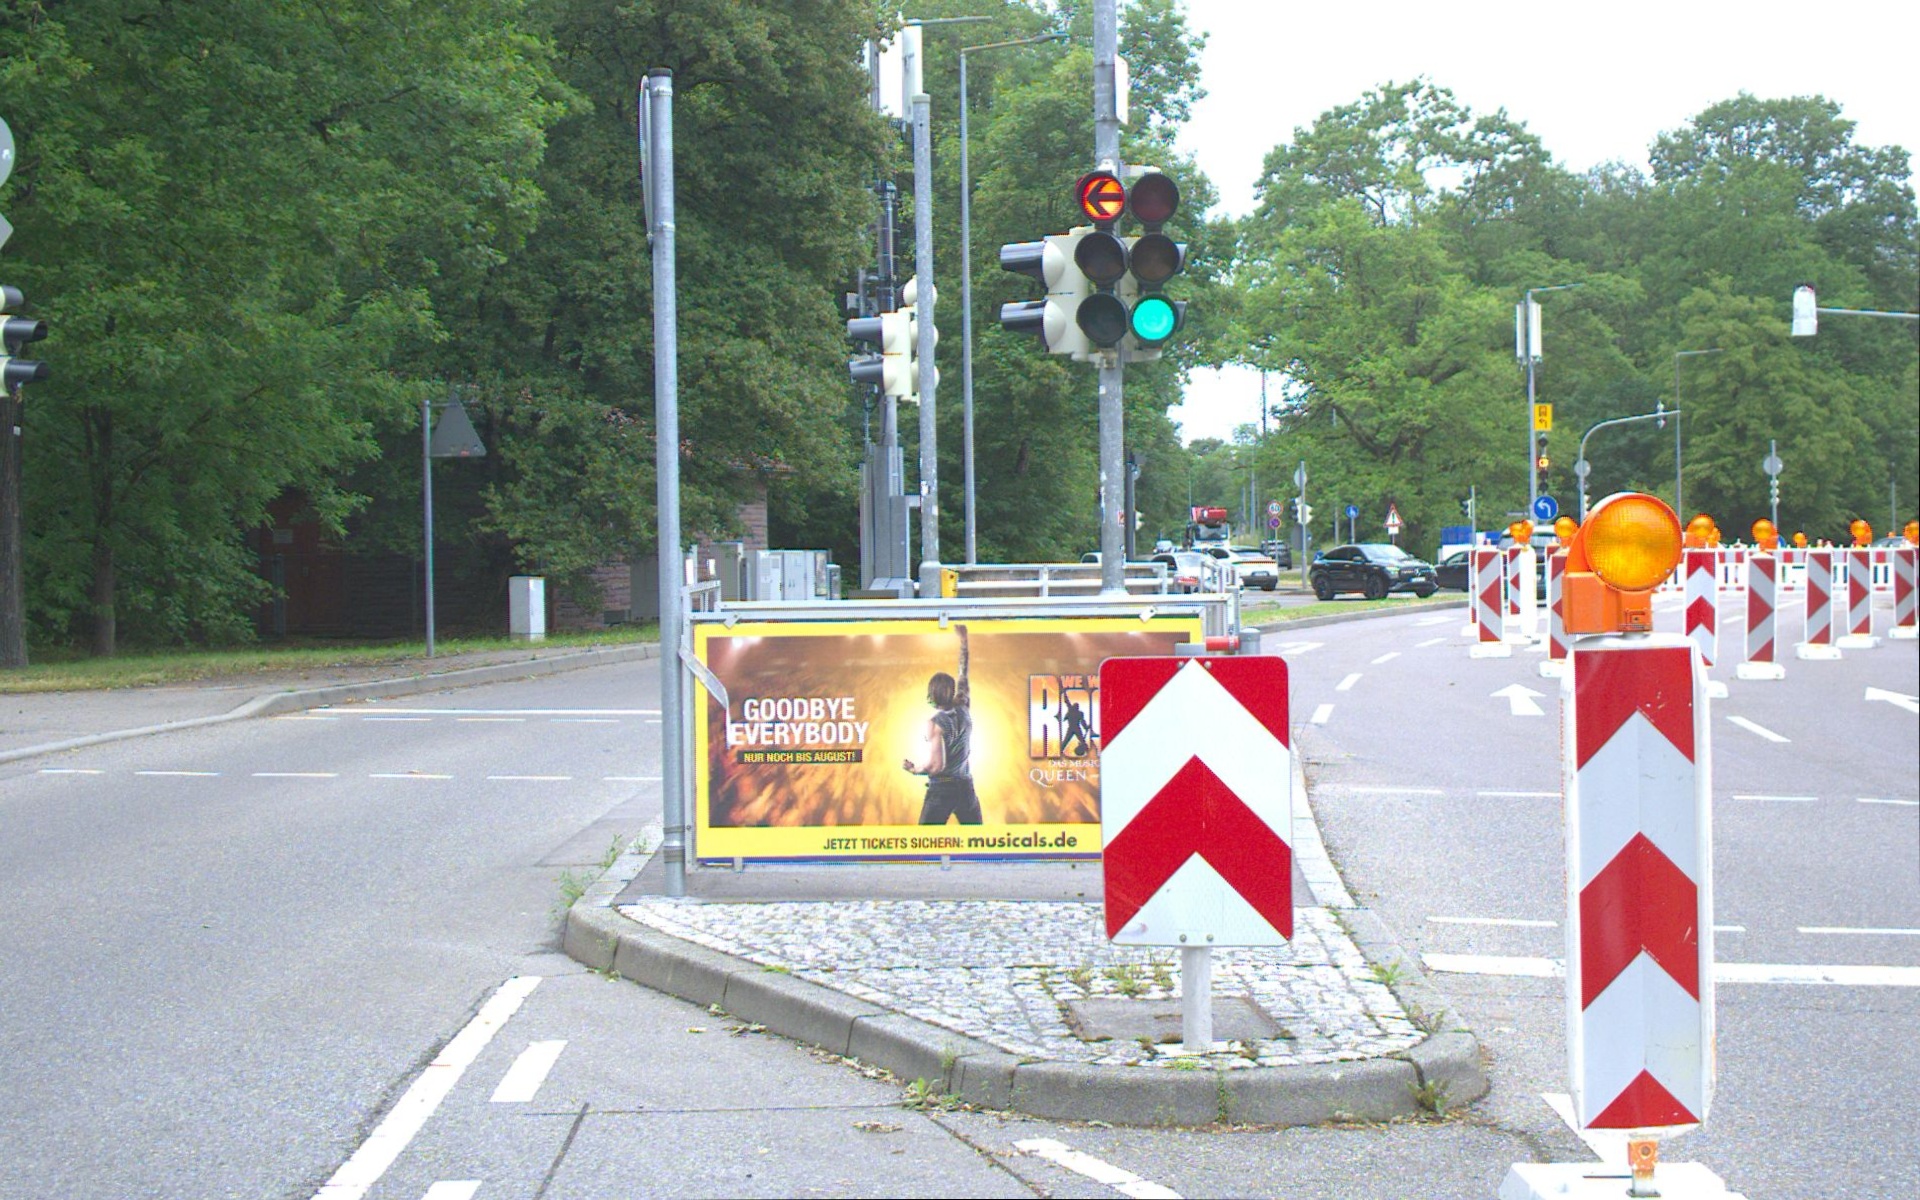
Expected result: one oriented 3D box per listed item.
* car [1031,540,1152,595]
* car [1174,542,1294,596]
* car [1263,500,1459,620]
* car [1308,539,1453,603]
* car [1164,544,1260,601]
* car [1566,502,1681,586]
[{"bbox_3d":[4.636,-1.162,121.505,1.994,1.875,3.998,0,1,-43],"label":"car"},{"bbox_3d":[9.856,-1.112,123.768,1.994,1.875,3.998,0,1,-43],"label":"car"},{"bbox_3d":[6.050,-0.596,51.520,1.996,1.711,3.996,1,1,21],"label":"car"},{"bbox_3d":[12.703,-0.875,103.998,1.994,1.875,3.998,0,1,-43],"label":"car"},{"bbox_3d":[8.005,-0.870,108.836,1.995,1.744,4.575,1,1,18],"label":"car"},{"bbox_3d":[14.189,-1.183,73.378,1.798,1.732,3.699,1,1,21],"label":"car"}]
